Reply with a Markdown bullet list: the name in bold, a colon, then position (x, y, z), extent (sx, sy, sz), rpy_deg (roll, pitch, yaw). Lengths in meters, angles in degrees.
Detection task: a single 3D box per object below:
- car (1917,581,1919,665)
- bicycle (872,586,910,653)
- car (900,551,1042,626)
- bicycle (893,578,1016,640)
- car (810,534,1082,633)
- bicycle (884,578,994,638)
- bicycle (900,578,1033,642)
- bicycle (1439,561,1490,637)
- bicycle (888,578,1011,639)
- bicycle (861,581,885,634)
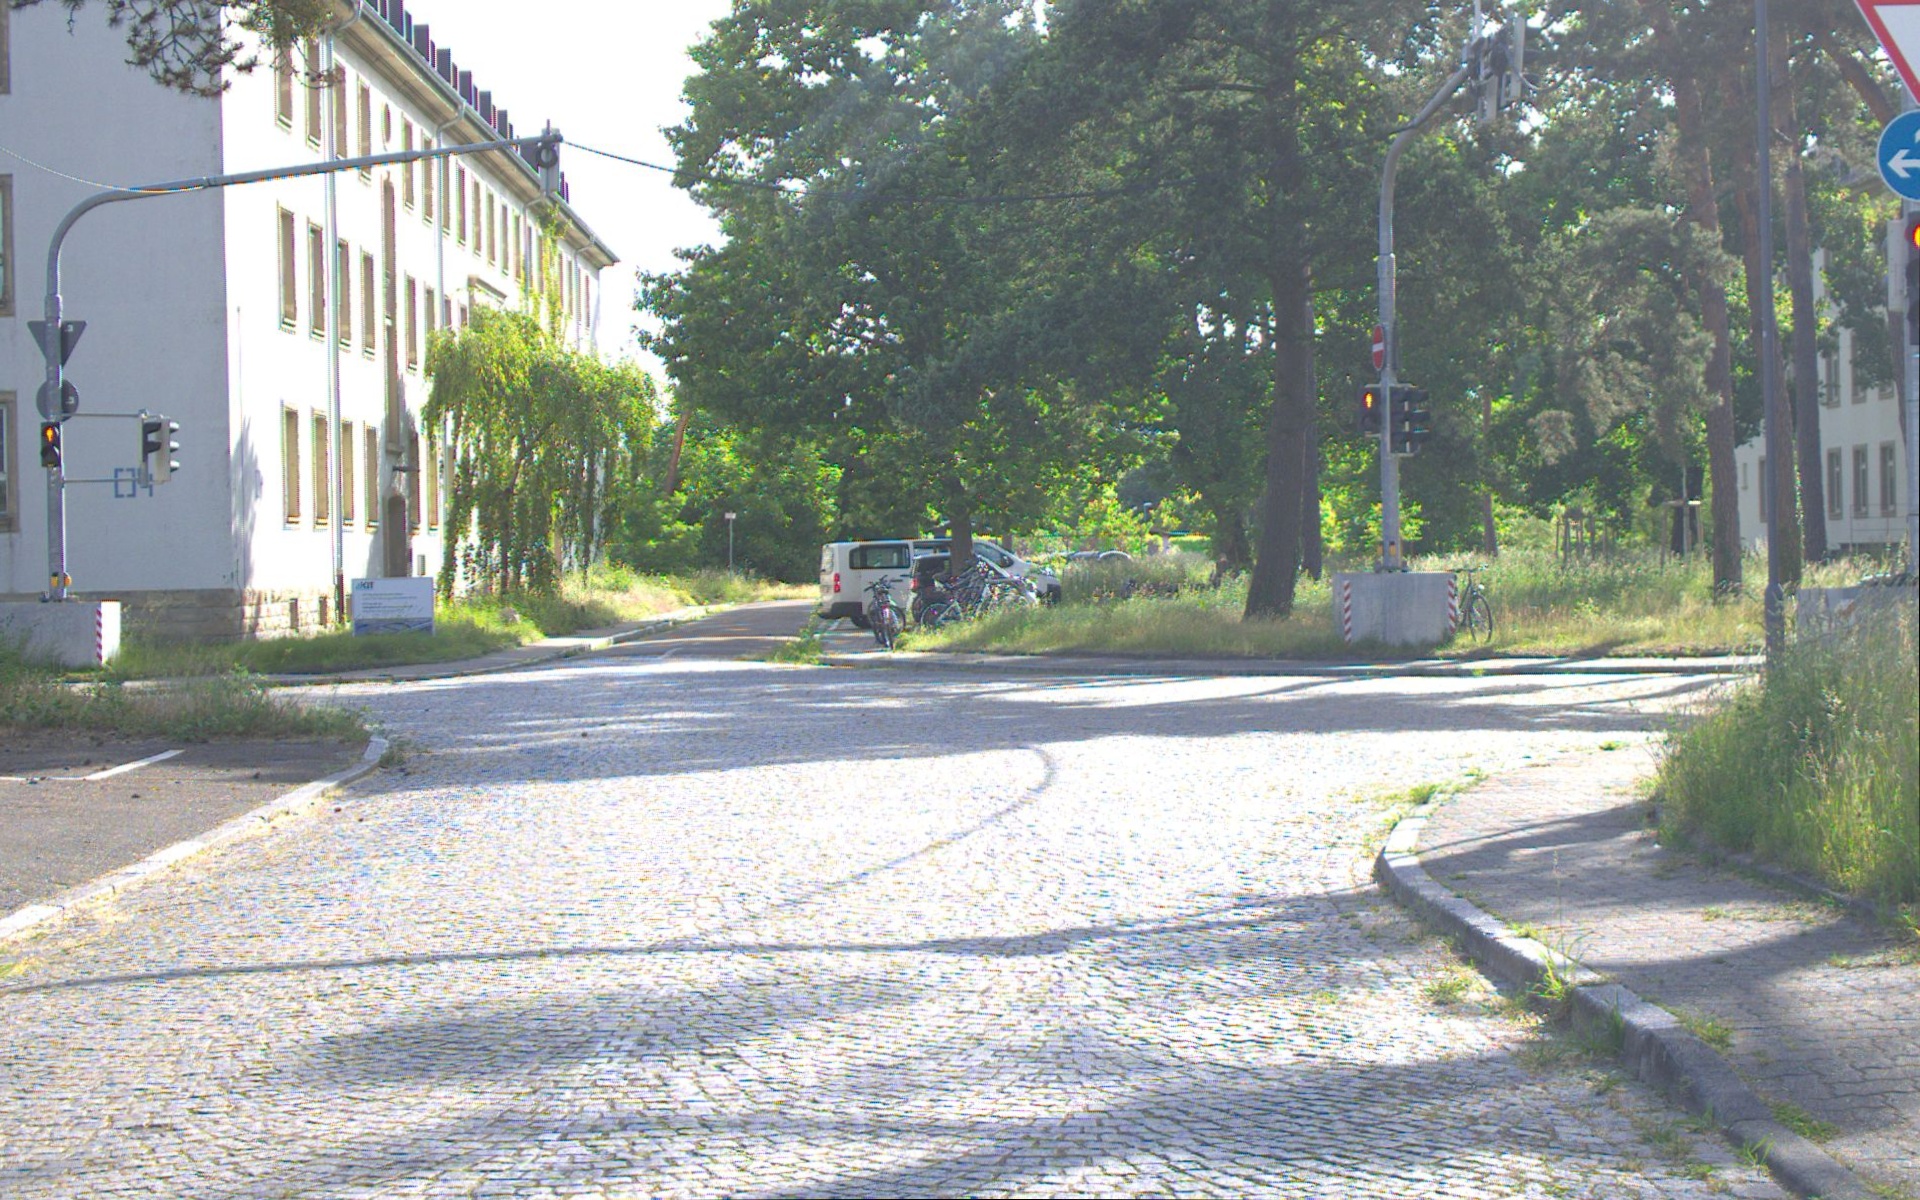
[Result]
- **car**: position (4.366, 0.598, 7.804), extent (3.882, 1.410, 1.637), rpy_deg (-2, 1, 0)
- **bicycle**: position (-1.069, 0.298, 52.914), extent (0.467, 1.007, 1.586), rpy_deg (1, 0, -4)
- **car**: position (0.210, -0.243, 71.136), extent (2.781, 1.462, 1.671), rpy_deg (1, 0, -5)
- **bicycle**: position (-0.094, 0.146, 58.375), extent (2.004, 1.007, 0.632), rpy_deg (1, 0, -8)
- **car**: position (-0.316, -0.360, 74.707), extent (5.520, 2.007, 2.001), rpy_deg (1, 0, -18)
- **bicycle**: position (-0.373, 0.133, 60.129), extent (1.837, 1.007, 0.636), rpy_deg (1, 0, -8)
- **bicycle**: position (0.098, 0.157, 56.663), extent (2.108, 1.007, 0.621), rpy_deg (1, 0, -8)
- **bicycle**: position (6.538, -0.016, 44.594), extent (0.300, 0.957, 1.586), rpy_deg (1, 0, -4)
- **bicycle**: position (-0.183, 0.141, 59.257), extent (2.027, 1.007, 0.627), rpy_deg (1, 0, -8)
- **bicycle**: position (-1.675, 0.144, 66.308), extent (0.417, 1.007, 1.483), rpy_deg (1, 0, 0)
